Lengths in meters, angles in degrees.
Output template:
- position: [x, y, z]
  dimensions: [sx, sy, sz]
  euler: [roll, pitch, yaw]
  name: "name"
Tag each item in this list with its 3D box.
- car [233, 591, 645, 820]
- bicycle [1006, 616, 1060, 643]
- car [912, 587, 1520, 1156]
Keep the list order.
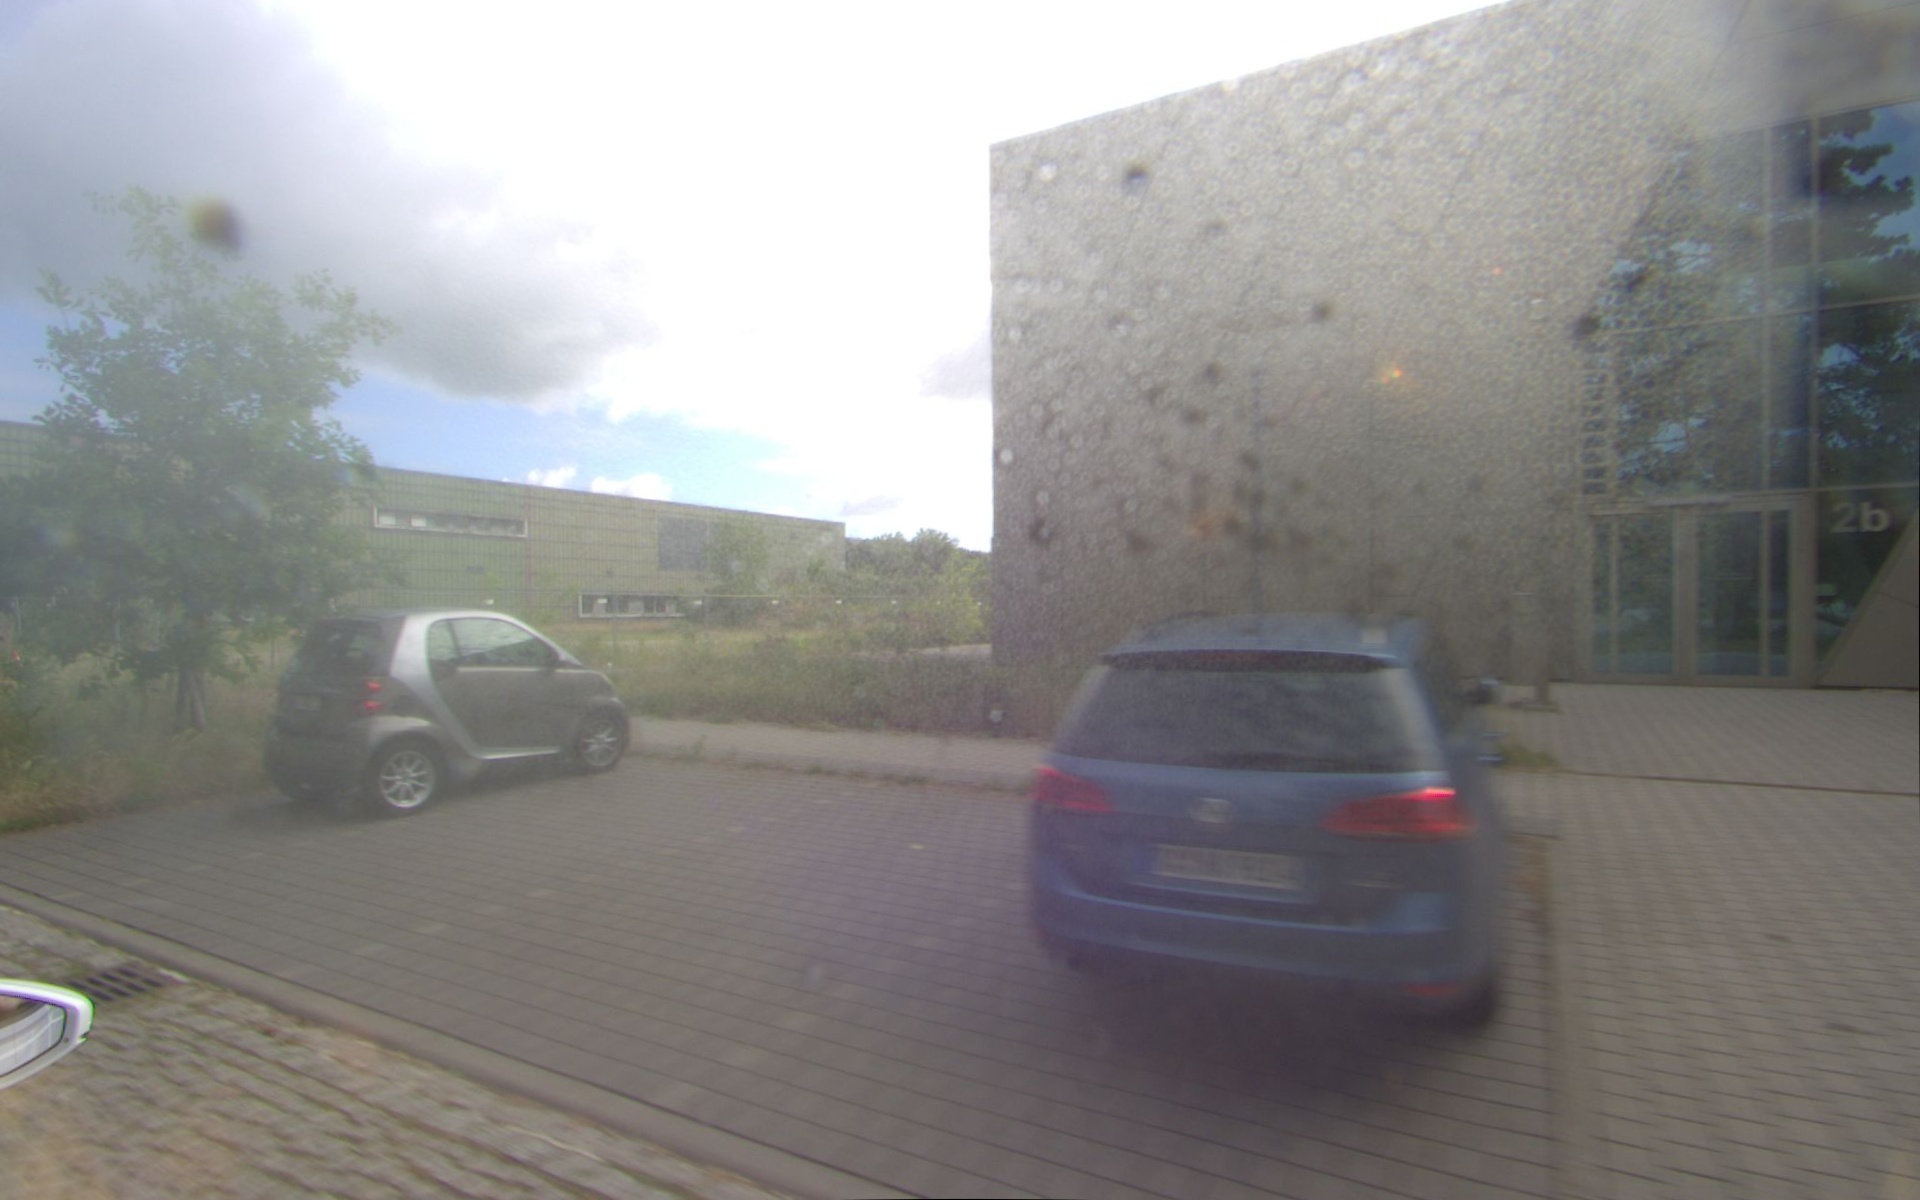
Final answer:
- position: [-4.438, 0.760, 8.839]
  dimensions: [1.657, 1.604, 2.736]
  euler: [0, 2, 30]
  name: "car"
- position: [2.867, 1.151, 39.355]
  dimensions: [1.961, 1.038, 0.832]
  euler: [-1, -1, 33]
  name: "bicycle"
- position: [1.732, 0.720, 5.152]
  dimensions: [1.902, 1.470, 4.519]
  euler: [0, 2, 28]
  name: "car"
